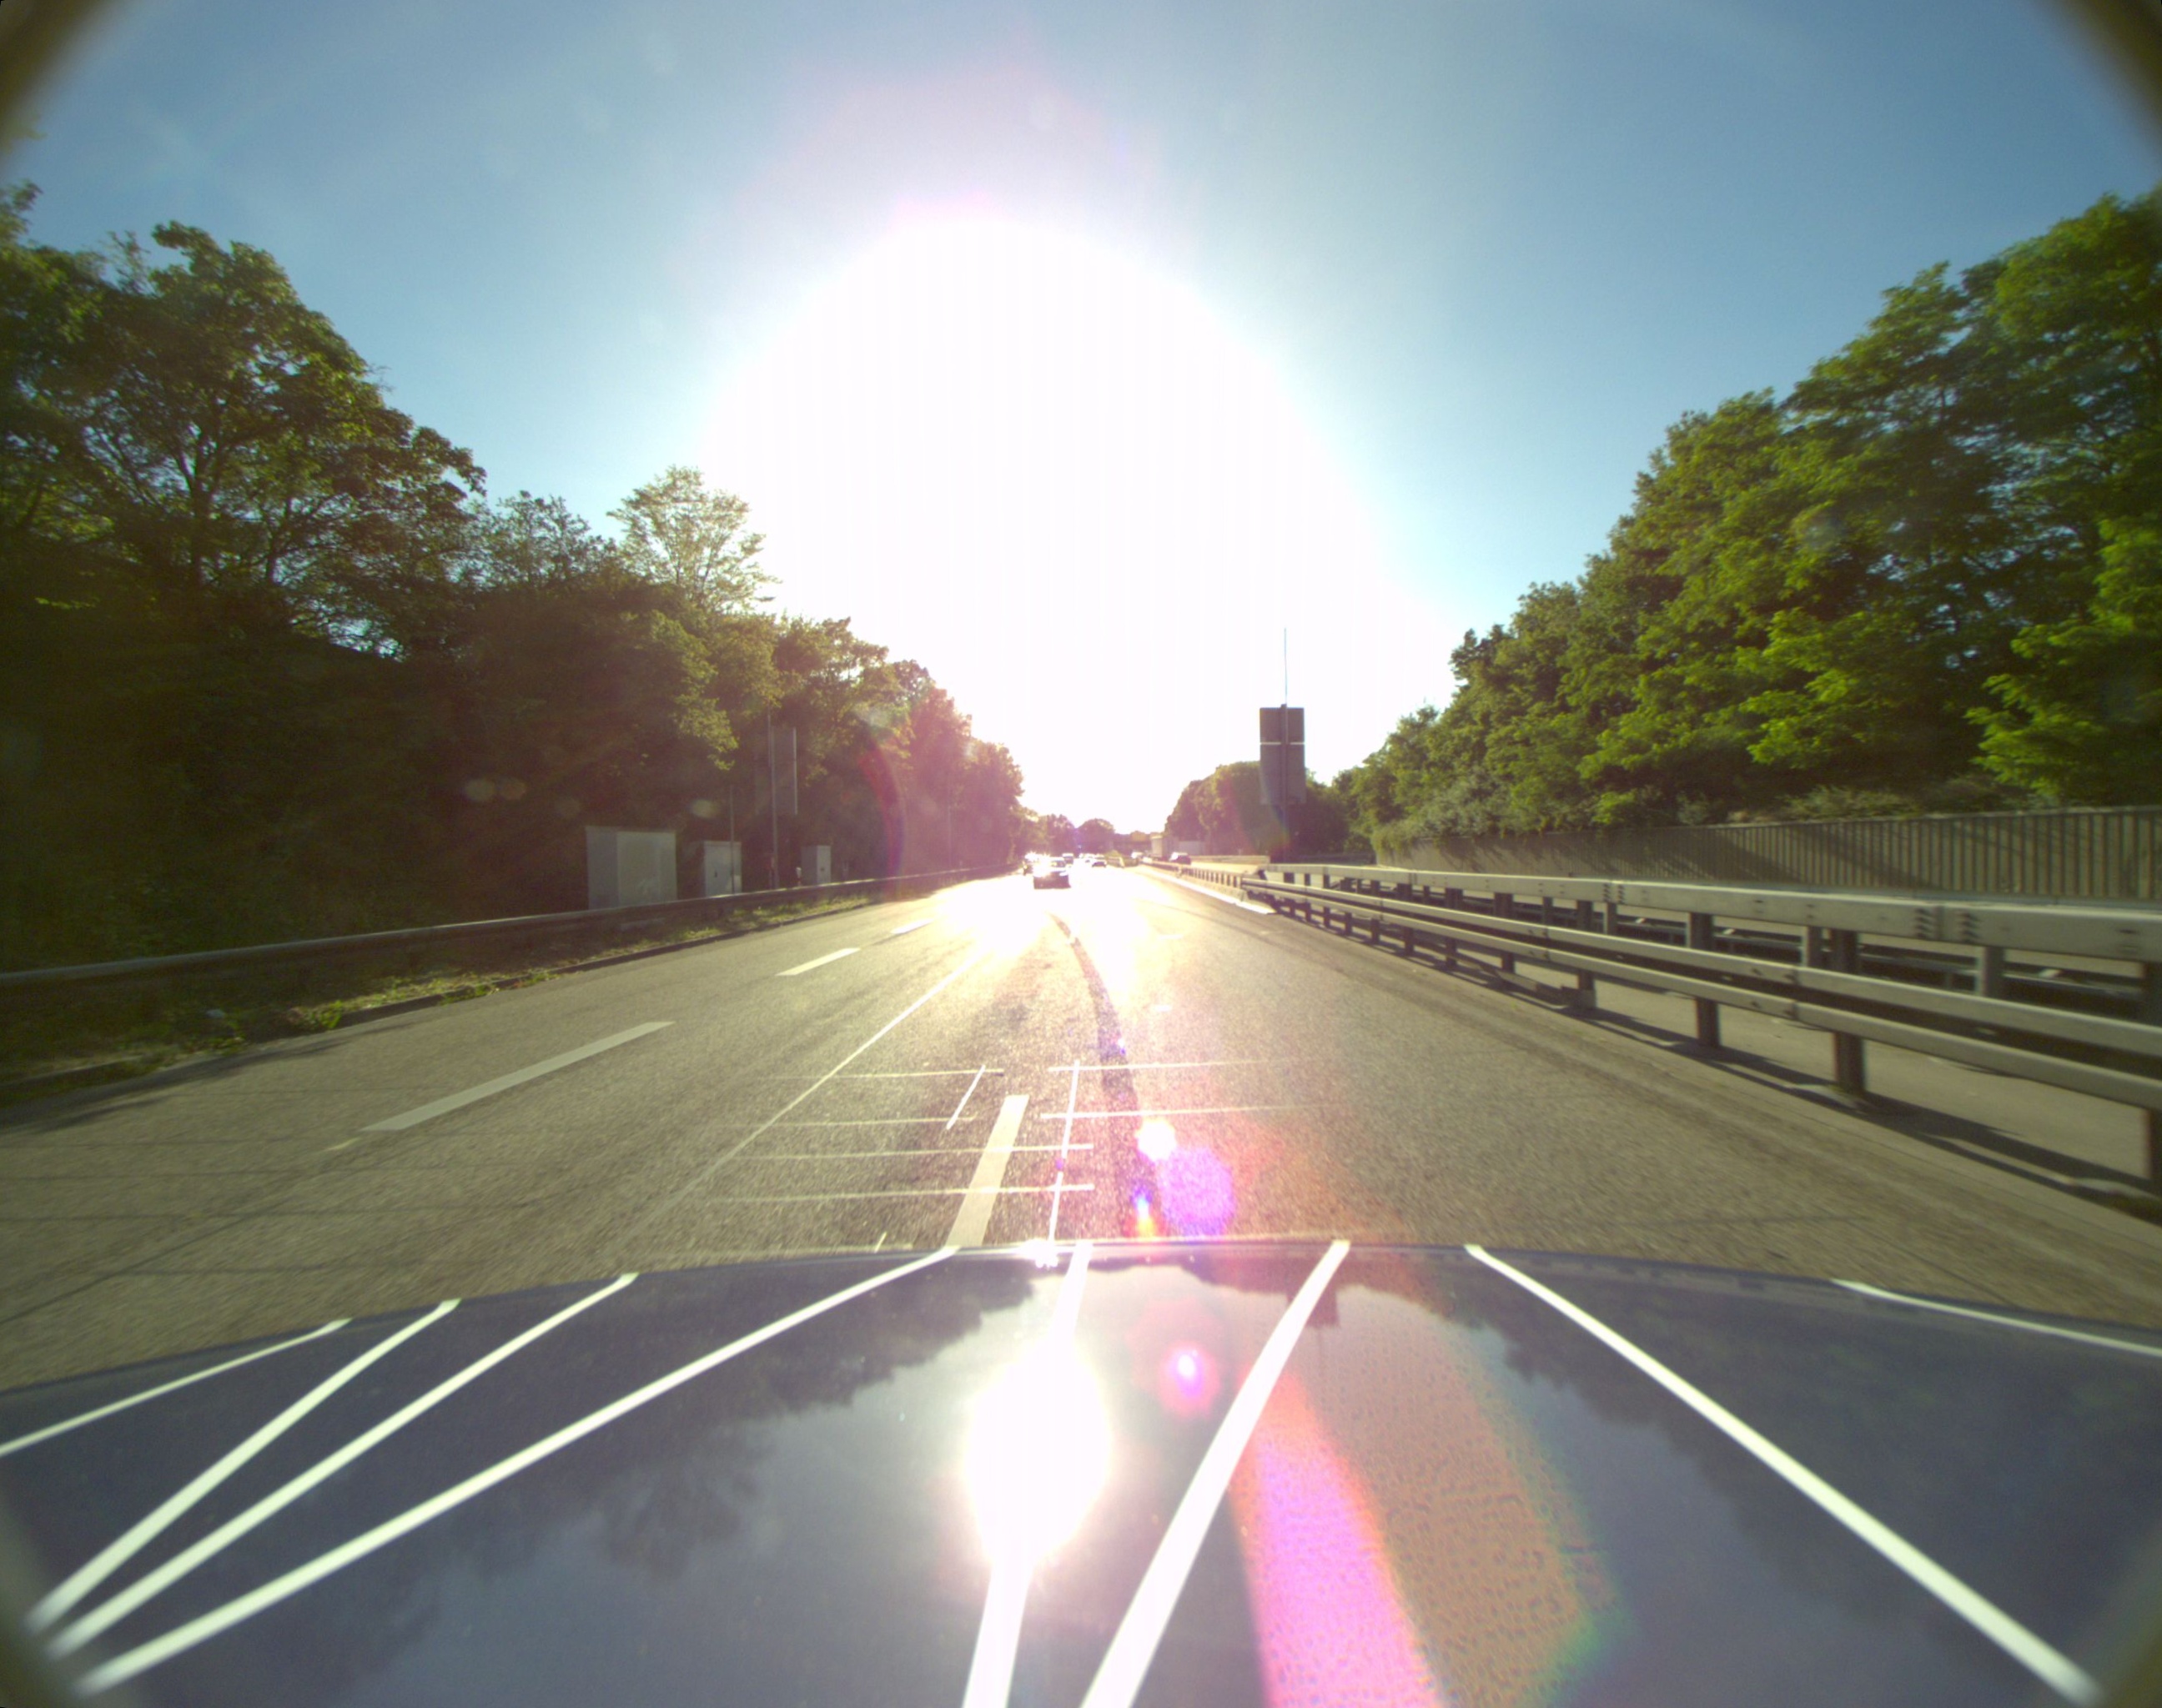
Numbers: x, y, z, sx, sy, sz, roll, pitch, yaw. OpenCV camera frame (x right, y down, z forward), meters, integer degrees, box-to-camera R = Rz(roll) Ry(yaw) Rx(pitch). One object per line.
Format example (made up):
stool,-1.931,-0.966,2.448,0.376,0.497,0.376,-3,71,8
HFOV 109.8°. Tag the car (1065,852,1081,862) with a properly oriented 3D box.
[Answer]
car,-1.125,0.381,110.839,1.998,1.406,4.832,-2,0,3

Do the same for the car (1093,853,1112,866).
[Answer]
car,2.470,0.603,87.007,1.998,1.406,4.831,-2,0,2

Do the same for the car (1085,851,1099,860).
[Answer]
car,1.788,0.268,123.916,1.998,1.406,4.832,-2,0,3

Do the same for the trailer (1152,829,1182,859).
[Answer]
trailer,13.547,-1.466,120.861,2.754,4.255,14.084,-3,0,0

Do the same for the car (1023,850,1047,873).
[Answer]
car,-3.665,0.589,60.693,1.746,1.652,3.999,-3,0,-3

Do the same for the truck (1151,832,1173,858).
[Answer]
truck,13.529,-1.459,127.385,2.743,4.236,6.387,-3,0,-1

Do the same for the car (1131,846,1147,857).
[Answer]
car,9.157,-0.369,120.090,1.999,1.648,4.938,-3,0,0

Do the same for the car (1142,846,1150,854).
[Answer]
car,20.164,-1.257,234.598,2.081,2.267,5.375,-3,0,1

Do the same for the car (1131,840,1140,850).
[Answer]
car,15.870,-2.567,220.034,2.152,2.595,6.052,-3,0,1

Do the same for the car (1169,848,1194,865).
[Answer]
car,9.661,0.256,73.326,1.998,1.477,4.200,-2,0,1

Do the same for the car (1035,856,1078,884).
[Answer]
car,-1.280,0.822,41.138,1.998,1.406,4.831,0,1,2
